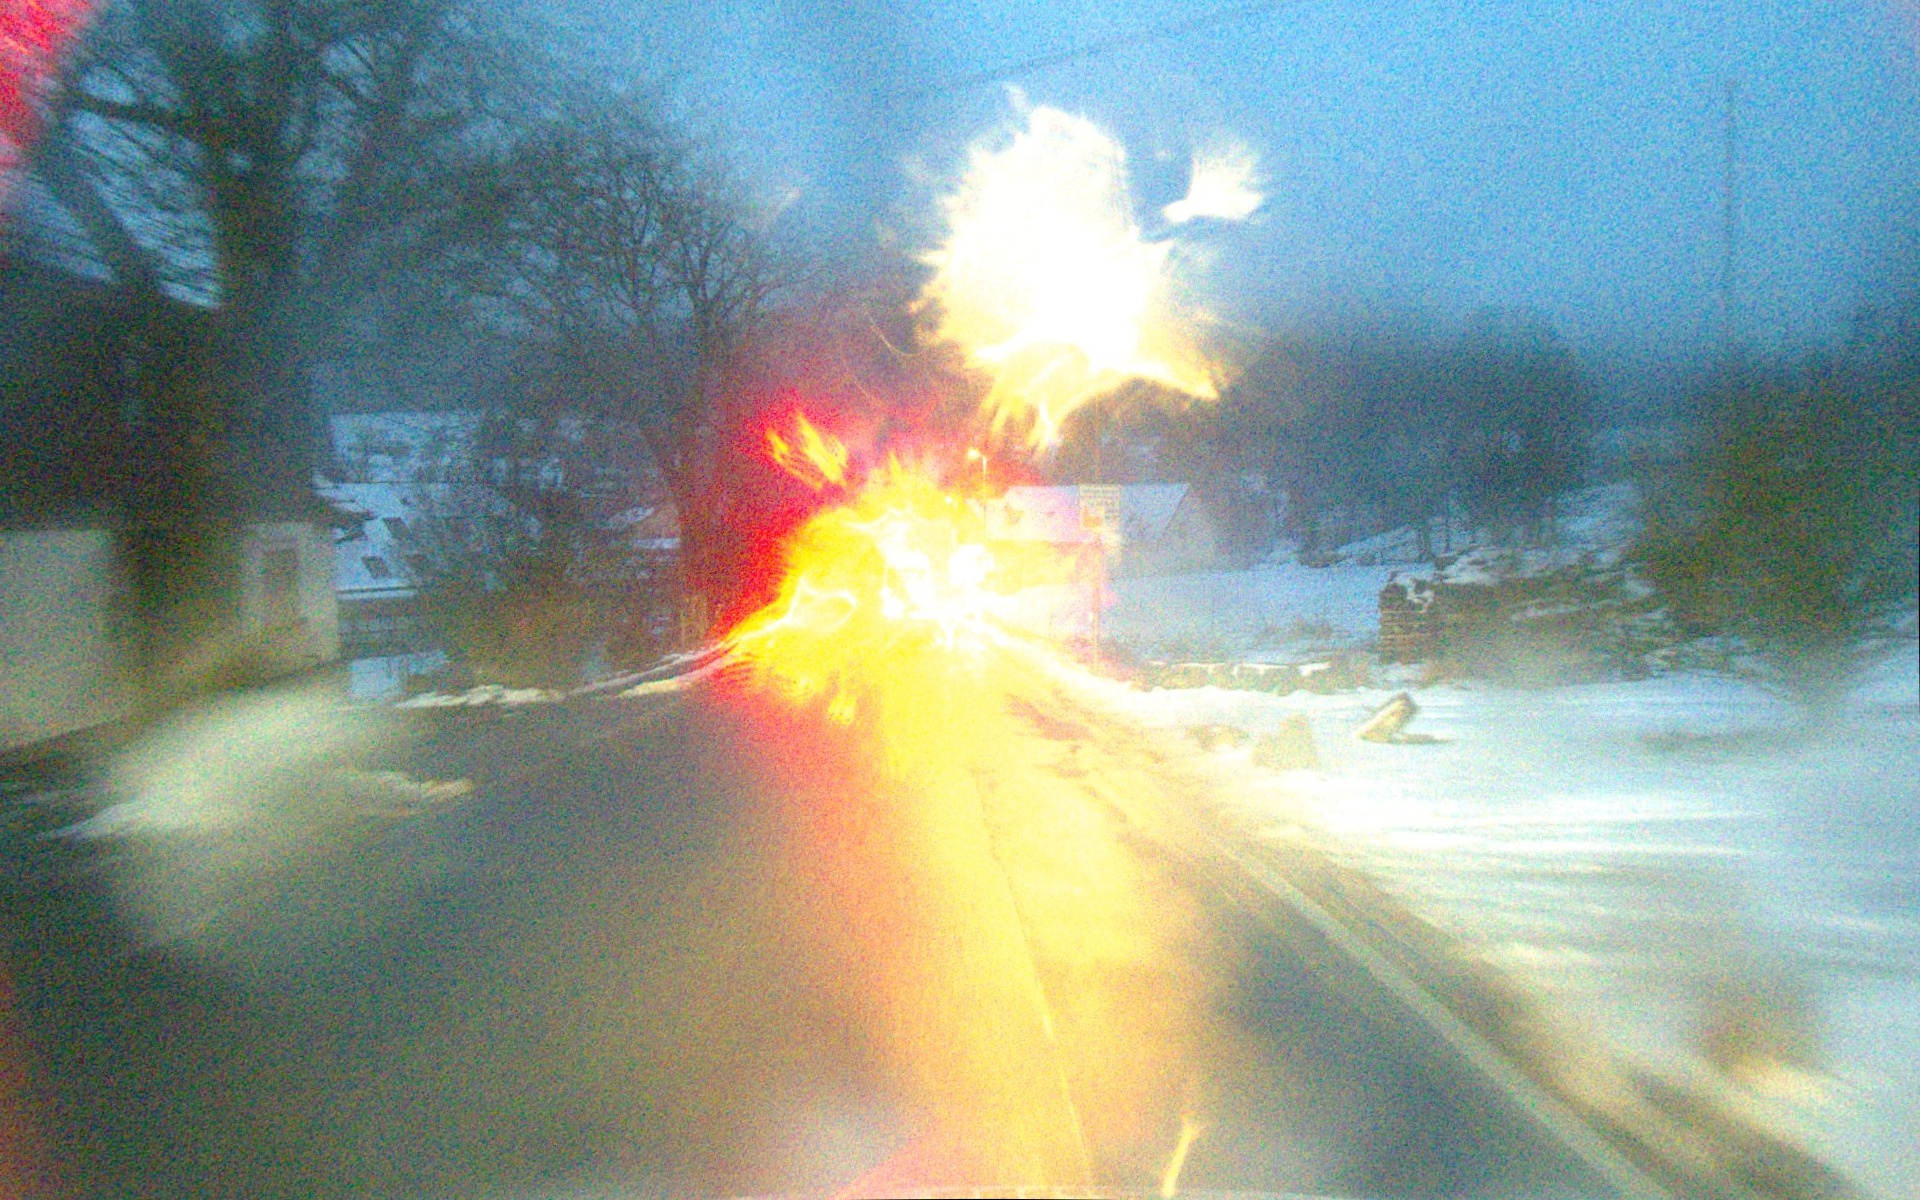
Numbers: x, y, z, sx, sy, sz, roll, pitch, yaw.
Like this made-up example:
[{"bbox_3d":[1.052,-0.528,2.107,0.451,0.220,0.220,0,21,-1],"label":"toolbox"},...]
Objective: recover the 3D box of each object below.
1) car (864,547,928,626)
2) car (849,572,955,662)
[{"bbox_3d":[-2.618,-0.491,68.524,2.385,3.072,5.324,-1,-1,0],"label":"car"},{"bbox_3d":[-1.294,0.356,37.447,2.228,1.873,5.005,0,0,-2],"label":"car"}]
